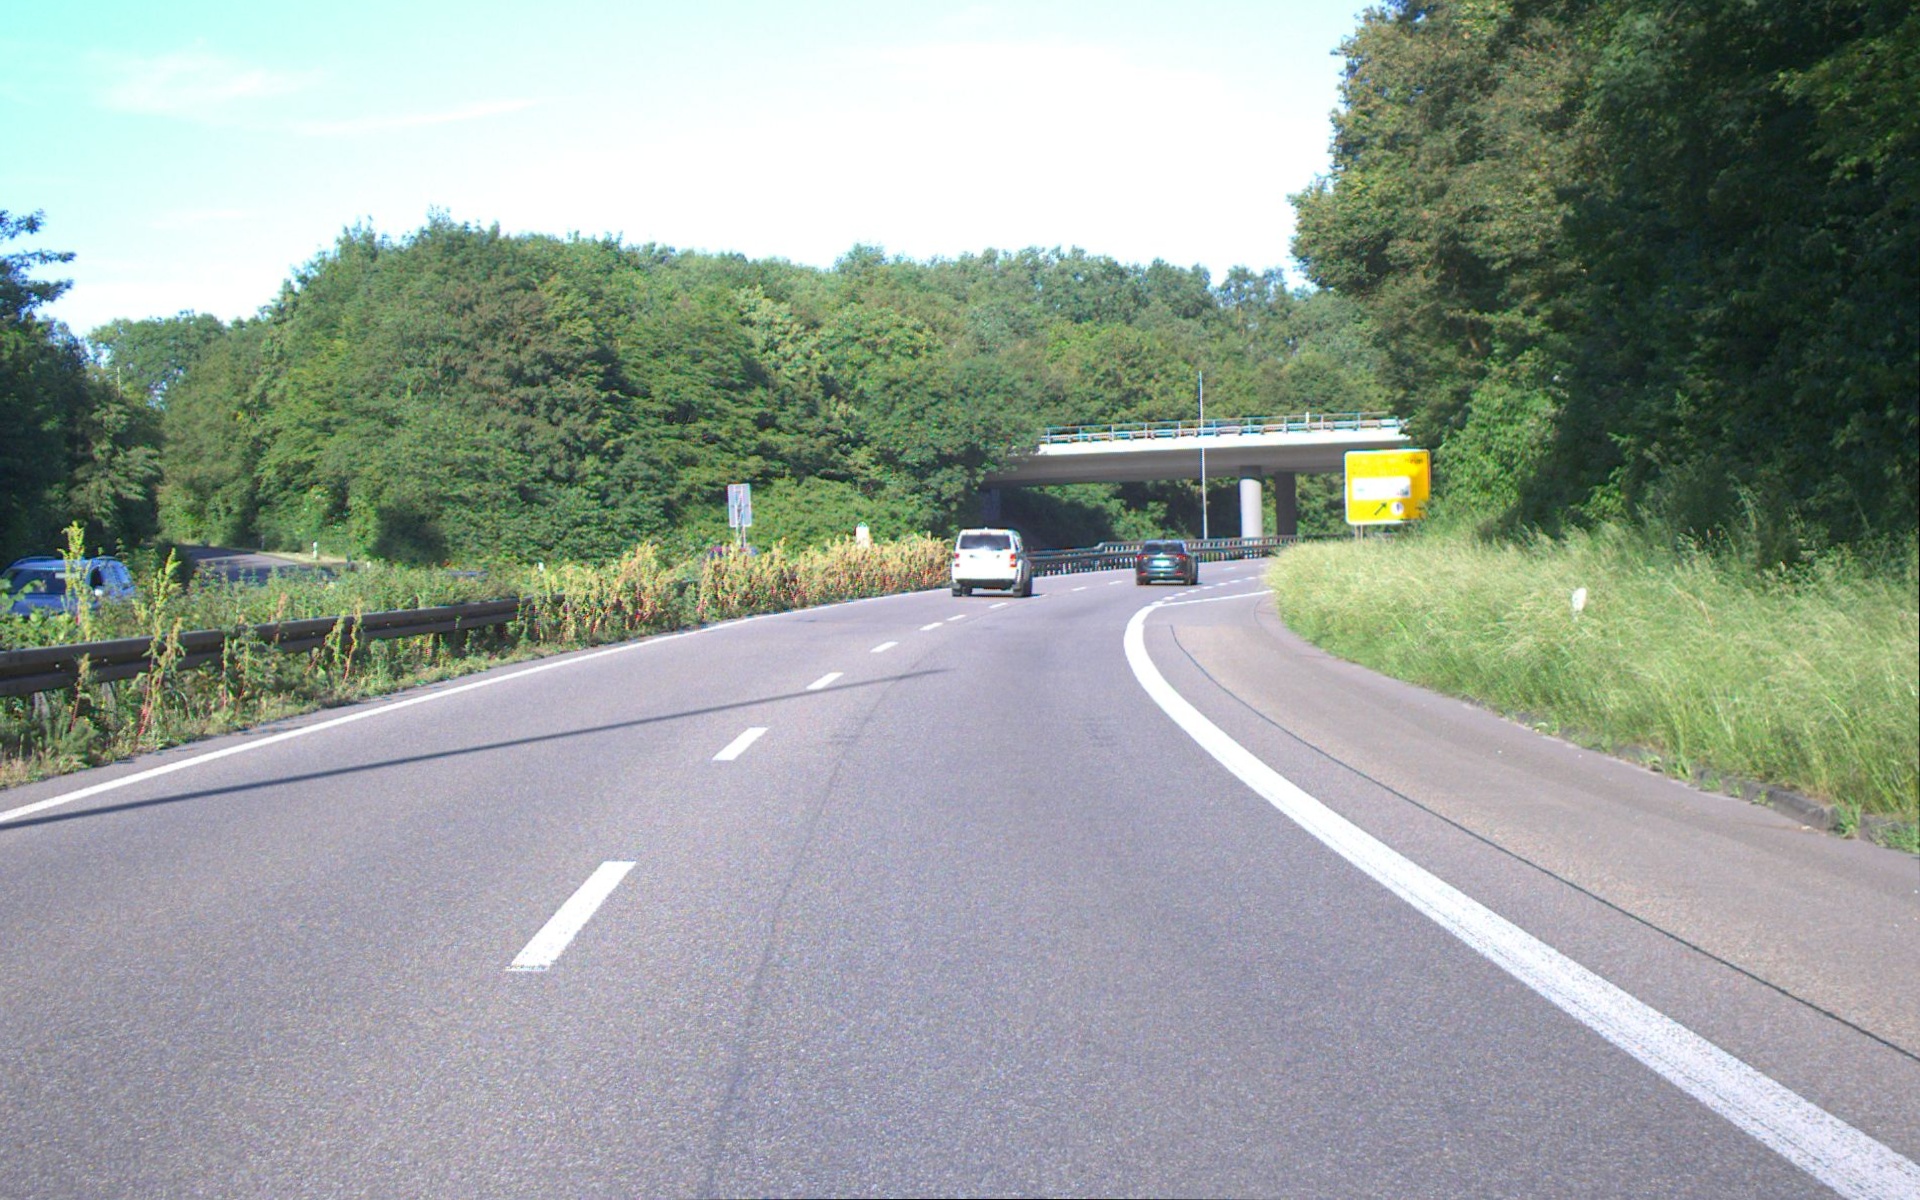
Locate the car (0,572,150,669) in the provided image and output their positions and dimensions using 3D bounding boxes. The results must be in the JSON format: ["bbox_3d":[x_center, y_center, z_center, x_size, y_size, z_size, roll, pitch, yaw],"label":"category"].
[{"bbox_3d":[-14.669,0.293,55.492,1.993,1.481,5.239,0,1,-1],"label":"car"}]

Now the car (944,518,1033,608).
[{"bbox_3d":[0.771,-0.988,90.454,1.994,2.269,3.999,-1,1,5],"label":"car"}]

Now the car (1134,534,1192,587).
[{"bbox_3d":[6.589,-1.290,111.563,1.739,1.656,3.945,-1,1,5],"label":"car"}]
